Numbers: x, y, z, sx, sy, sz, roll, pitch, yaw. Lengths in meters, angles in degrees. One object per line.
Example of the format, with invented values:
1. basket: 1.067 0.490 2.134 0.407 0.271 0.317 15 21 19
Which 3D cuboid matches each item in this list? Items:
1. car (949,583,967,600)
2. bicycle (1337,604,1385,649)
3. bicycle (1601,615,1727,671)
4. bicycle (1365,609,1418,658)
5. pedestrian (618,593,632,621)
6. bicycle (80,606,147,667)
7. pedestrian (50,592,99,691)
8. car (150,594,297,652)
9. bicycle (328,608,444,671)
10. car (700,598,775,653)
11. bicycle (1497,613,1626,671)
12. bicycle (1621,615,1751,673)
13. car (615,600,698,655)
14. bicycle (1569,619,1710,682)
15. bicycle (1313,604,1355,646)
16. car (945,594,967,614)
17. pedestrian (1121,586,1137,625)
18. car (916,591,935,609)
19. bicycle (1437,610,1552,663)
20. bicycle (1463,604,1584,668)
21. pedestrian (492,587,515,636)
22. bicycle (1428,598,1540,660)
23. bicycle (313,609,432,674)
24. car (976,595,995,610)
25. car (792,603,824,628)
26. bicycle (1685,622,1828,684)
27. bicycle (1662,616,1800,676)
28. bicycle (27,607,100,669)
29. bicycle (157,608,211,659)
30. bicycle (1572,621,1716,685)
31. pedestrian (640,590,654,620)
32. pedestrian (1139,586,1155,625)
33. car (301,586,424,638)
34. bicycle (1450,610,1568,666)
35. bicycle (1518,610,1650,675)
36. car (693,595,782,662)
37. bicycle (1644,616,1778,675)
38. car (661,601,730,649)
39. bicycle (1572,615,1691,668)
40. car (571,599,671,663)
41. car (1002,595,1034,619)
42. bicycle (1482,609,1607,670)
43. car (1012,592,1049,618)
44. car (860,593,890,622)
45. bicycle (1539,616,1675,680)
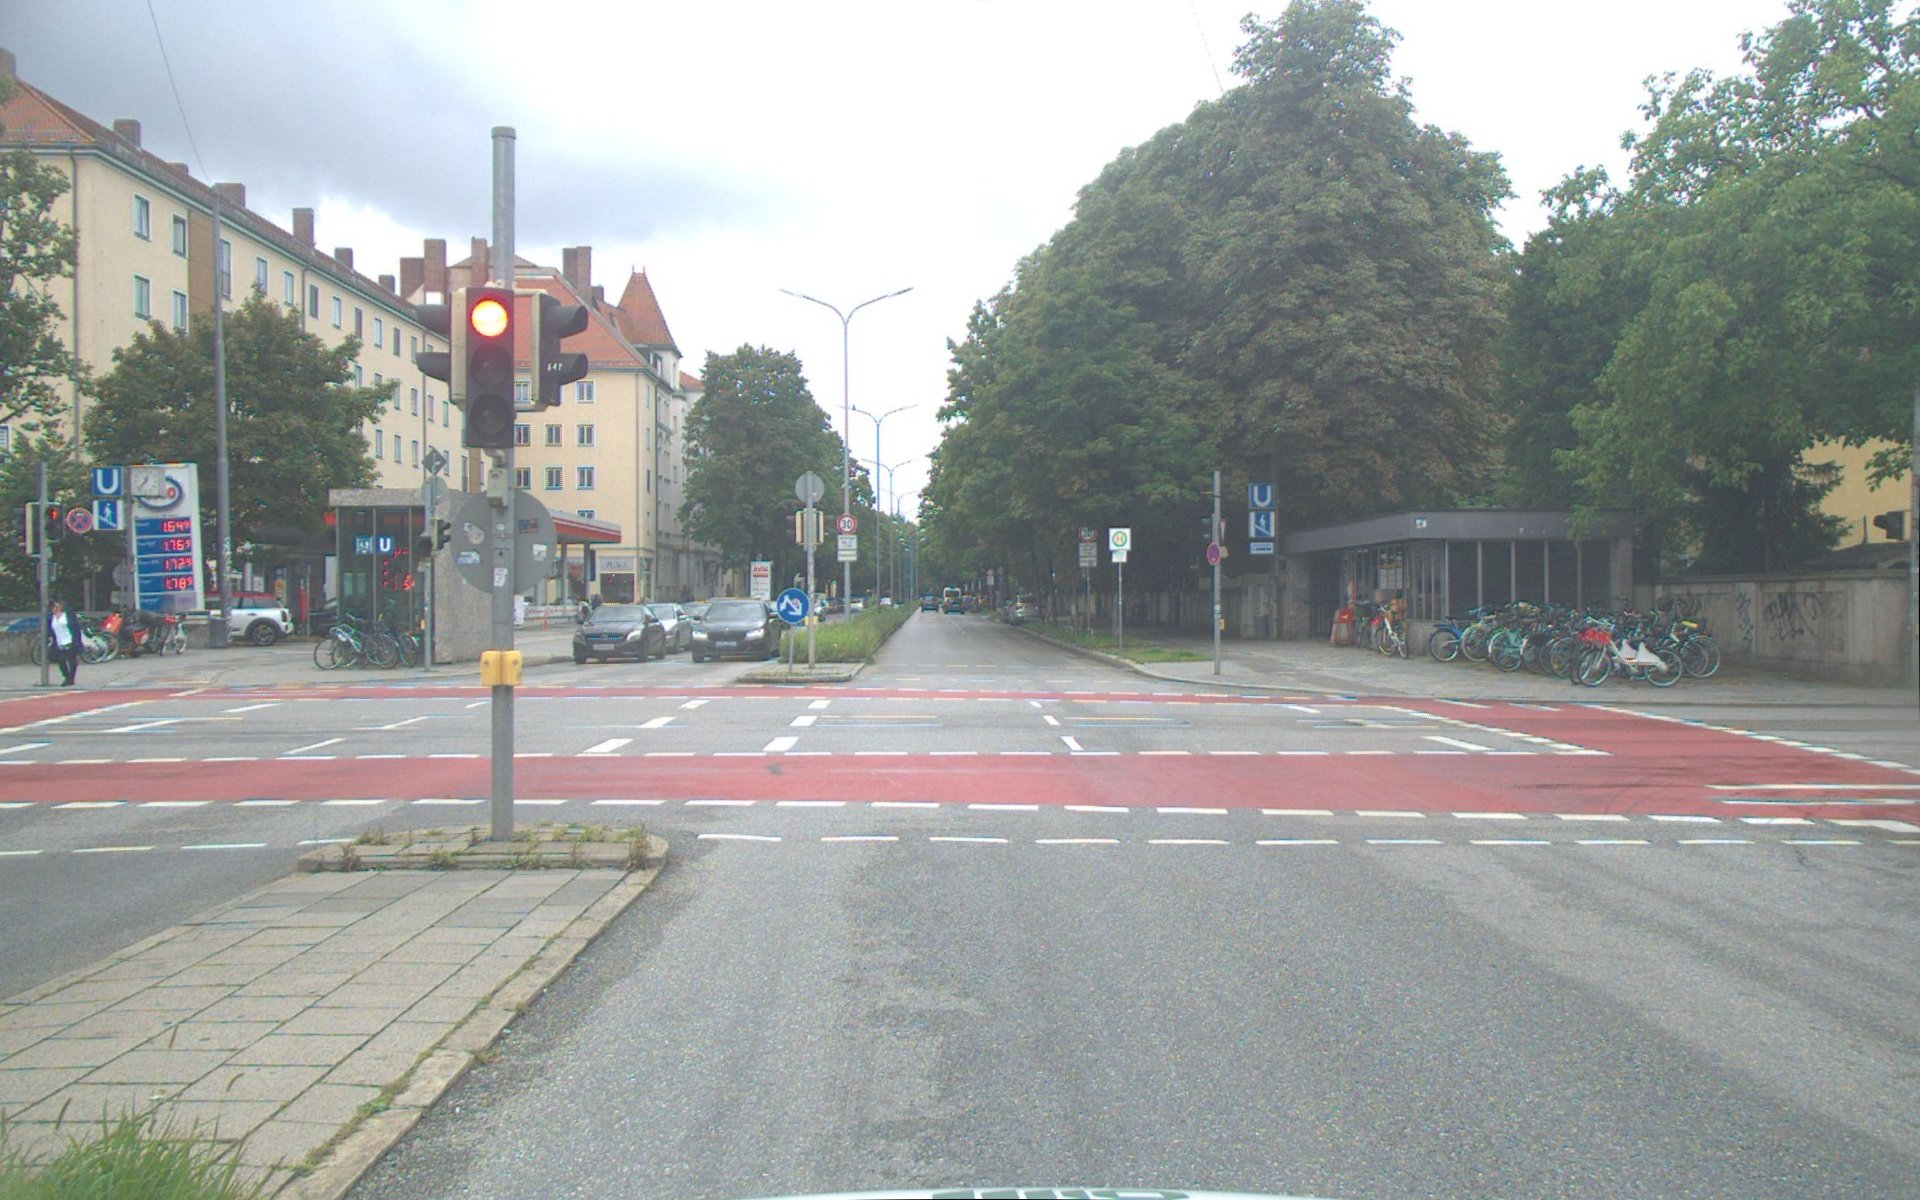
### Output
1. car: -0.219 -0.949 183.279 1.953 1.787 3.999 0 0 -2
2. bicycle: 9.443 0.613 38.969 0.545 1.032 2.014 0 0 -3
3. bicycle: 13.311 0.808 31.299 2.097 1.032 0.634 0 0 7
4. bicycle: 9.441 0.715 36.235 0.545 1.032 2.014 0 0 -3
5. pedestrian: -20.258 0.399 99.902 0.682 1.666 0.738 0 0 -1
6. bicycle: -18.425 0.775 36.046 0.596 1.257 2.183 0 0 -7
7. pedestrian: -15.576 0.718 29.095 0.523 1.725 0.577 0 0 1
8. car: -21.964 0.667 49.489 3.898 1.637 1.805 -1 0 -21
9. bicycle: -12.290 0.841 35.462 2.238 1.327 0.694 0 0 0
10. car: -6.428 0.705 48.091 1.724 1.519 3.999 0 0 -1
11. bicycle: 10.885 0.760 29.980 2.097 1.032 0.603 0 0 7
12. bicycle: 13.379 0.808 30.515 2.097 1.032 0.634 0 0 7
13. car: -8.769 0.771 48.048 1.724 1.486 3.999 0 0 -1
14. bicycle: 11.405 0.851 27.815 2.097 1.032 0.634 0 0 7
15. bicycle: 9.571 0.638 42.383 0.545 1.032 2.014 0 0 -3
16. car: -0.362 0.330 148.601 1.884 1.713 3.999 0 0 -1
17. pedestrian: 7.444 0.244 72.832 0.663 1.712 0.683 0 0 5
18. car: -3.389 -0.010 161.816 1.819 1.713 3.999 0 0 -1
19. bicycle: 10.659 0.721 33.025 2.097 1.032 0.603 0 0 7
20. bicycle: 10.690 0.674 31.443 2.097 1.199 0.603 0 0 7
21. pedestrian: -19.009 0.478 68.894 0.715 2.049 0.834 1 -1 -1
22. bicycle: 10.680 0.586 33.740 2.097 1.240 0.603 0 0 7
23. bicycle: -12.299 0.855 34.682 2.225 1.327 0.704 0 0 0
24. car: 2.438 0.248 159.348 1.708 1.452 3.898 0 0 -1
25. car: -9.790 0.994 106.650 1.724 1.519 3.999 0 0 -1
26. bicycle: 13.547 0.904 28.160 2.097 1.032 0.634 0 0 7
27. bicycle: 13.482 0.804 28.956 2.097 1.032 0.634 0 0 7
28. bicycle: -19.056 0.780 35.206 0.596 1.257 2.183 0 0 -7
29. bicycle: -18.839 0.796 40.184 0.596 1.165 1.962 0 0 -7
30. bicycle: 11.221 0.865 27.187 2.097 1.032 0.603 0 0 7
31. pedestrian: -17.484 0.276 92.367 0.682 1.666 0.738 0 0 -1
32. pedestrian: 8.234 0.254 72.890 0.663 1.712 0.683 0 0 5
33. car: -22.214 0.442 61.620 3.908 1.870 1.879 0 0 -4
34. bicycle: 10.647 0.735 32.144 2.097 1.080 0.603 0 0 7
35. bicycle: 11.025 0.754 29.268 2.097 1.120 0.603 0 0 7
36. car: -5.388 0.660 40.435 1.724 1.519 3.999 0 0 -1
37. bicycle: 13.473 0.808 29.723 2.097 1.032 0.634 0 0 7
38. car: -8.752 0.806 55.009 1.724 1.486 3.999 0 0 -1
39. bicycle: 13.339 0.819 32.881 2.097 1.032 0.634 0 0 7
40. car: -8.407 0.744 41.302 1.724 1.486 3.999 0 0 -1
41. car: 3.512 0.396 99.858 1.708 1.387 3.805 0 0 -1
42. bicycle: 10.832 0.723 30.708 2.097 1.105 0.603 0 0 7
43. car: 3.802 0.250 89.709 1.708 1.387 3.805 0 0 -1
44. car: -4.341 0.371 85.168 1.438 1.423 3.699 0 0 -1
45. bicycle: 11.173 0.826 28.616 2.097 1.089 0.603 0 0 7
